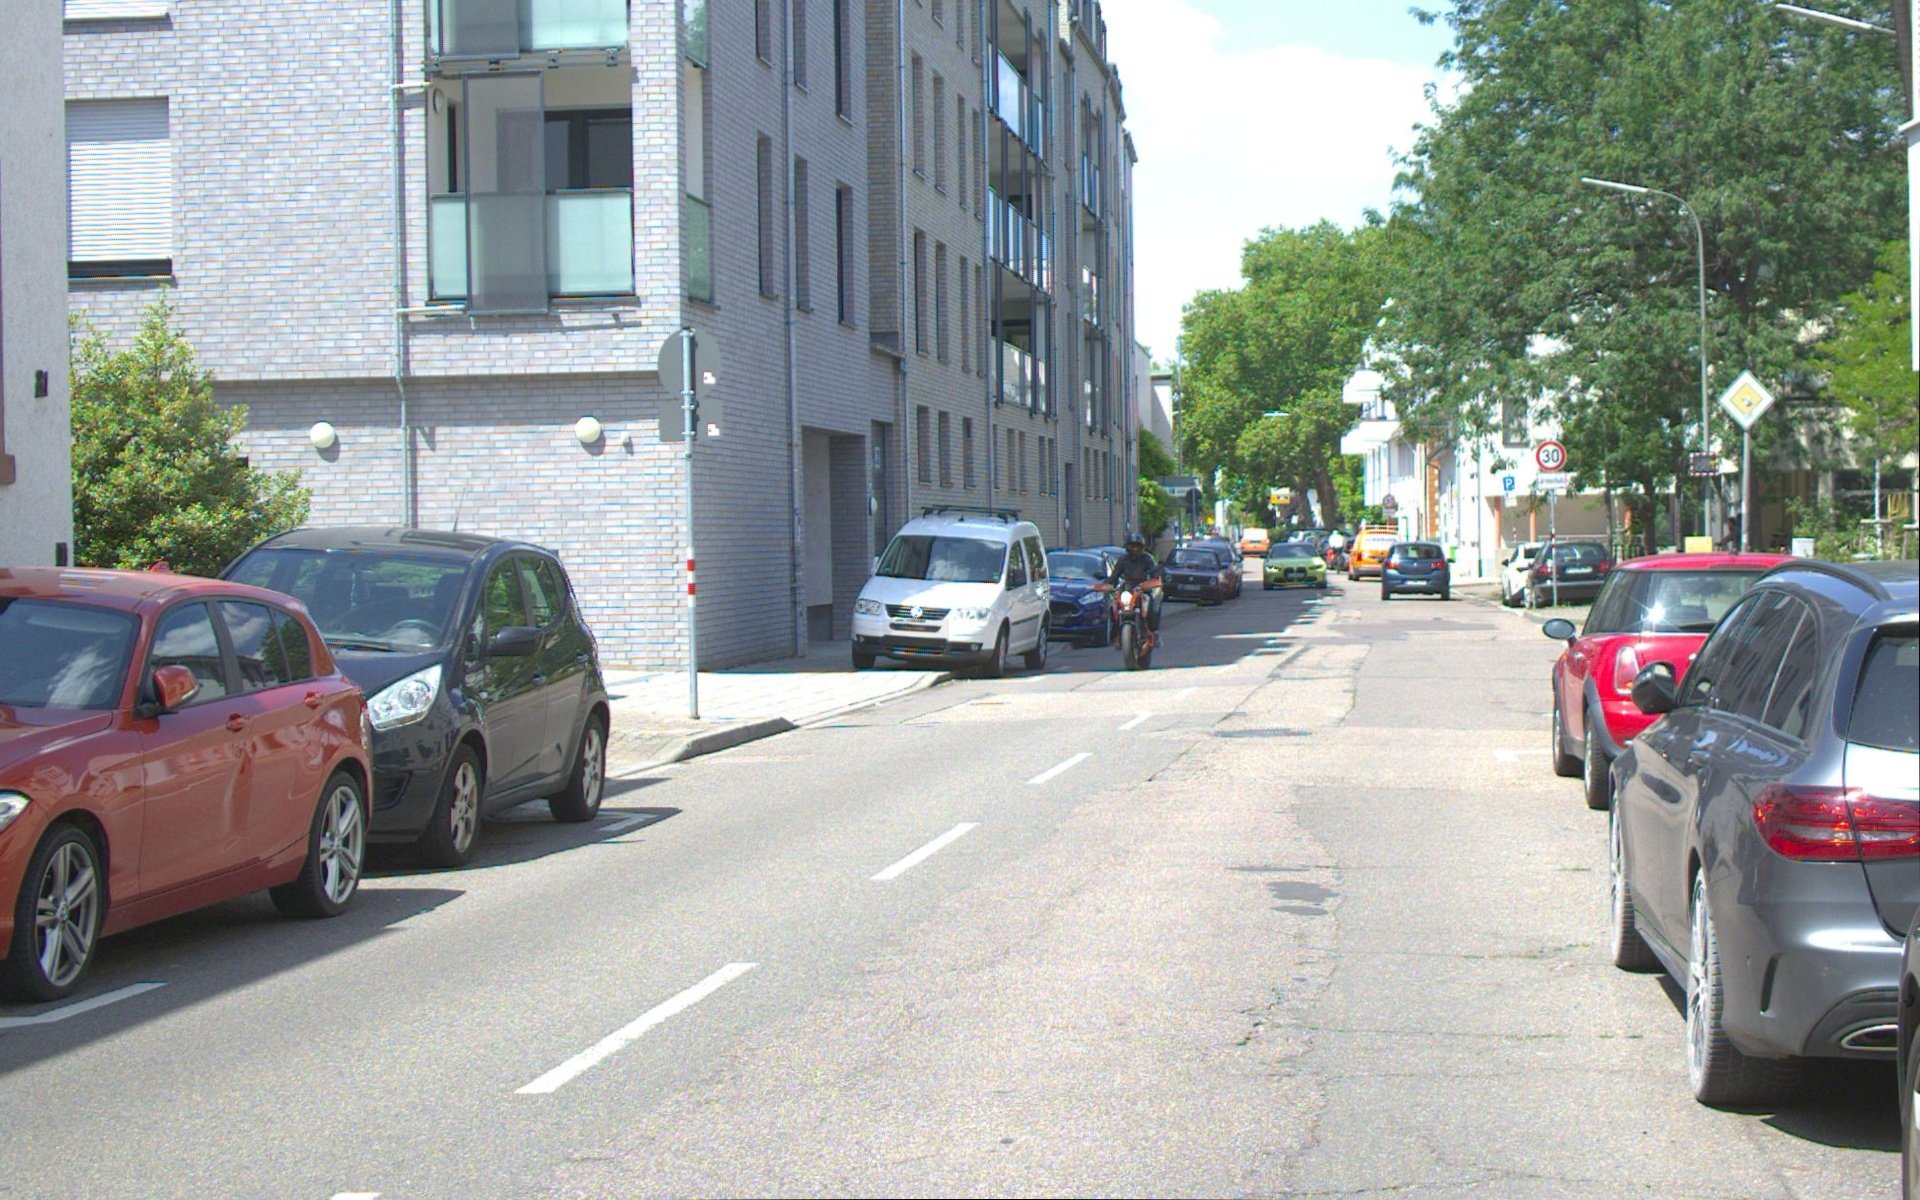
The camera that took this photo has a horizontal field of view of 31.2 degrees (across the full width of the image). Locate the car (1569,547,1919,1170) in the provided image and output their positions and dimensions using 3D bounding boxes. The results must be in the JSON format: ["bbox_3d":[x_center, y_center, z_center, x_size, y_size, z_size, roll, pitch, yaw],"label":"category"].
[{"bbox_3d":[2.828,0.573,10.270,1.729,1.415,4.544,-1,1,7],"label":"car"}]

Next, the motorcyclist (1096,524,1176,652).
[{"bbox_3d":[2.131,-0.157,41.522,0.822,1.504,1.056,-1,1,8],"label":"motorcyclist"}]

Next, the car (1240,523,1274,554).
[{"bbox_3d":[19.569,-4.067,226.343,2.157,2.007,3.999,-1,1,6],"label":"car"}]

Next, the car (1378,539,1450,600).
[{"bbox_3d":[11.371,-0.786,86.119,1.716,1.397,3.999,-1,2,8],"label":"car"}]

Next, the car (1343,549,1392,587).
[{"bbox_3d":[18.051,-1.427,152.404,1.994,1.612,4.000,-1,1,4],"label":"car"}]

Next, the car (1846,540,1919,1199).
[{"bbox_3d":[2.433,0.657,5.061,1.710,1.503,3.999,-1,1,8],"label":"car"}]

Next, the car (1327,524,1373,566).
[{"bbox_3d":[15.850,-2.255,139.835,1.711,1.628,3.703,-1,1,5],"label":"car"}]

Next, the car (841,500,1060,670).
[{"bbox_3d":[-0.053,-0.231,40.820,1.758,1.885,4.334,1,2,11],"label":"car"}]

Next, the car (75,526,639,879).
[{"bbox_3d":[-3.030,0.437,18.134,1.795,1.641,3.944,0,1,8],"label":"car"}]

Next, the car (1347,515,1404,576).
[{"bbox_3d":[14.328,-1.893,118.470,1.839,2.006,3.999,-1,2,8],"label":"car"}]

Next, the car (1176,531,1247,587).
[{"bbox_3d":[6.838,-1.130,93.275,1.733,1.437,3.999,-1,1,7],"label":"car"}]

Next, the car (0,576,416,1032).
[{"bbox_3d":[-3.684,0.661,13.248,1.834,1.412,4.288,-1,1,10],"label":"car"}]

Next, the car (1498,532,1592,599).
[{"bbox_3d":[12.948,-0.787,76.277,1.779,1.415,3.999,-1,1,6],"label":"car"}]

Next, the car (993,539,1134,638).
[{"bbox_3d":[1.640,-0.208,53.088,1.723,1.451,4.004,0,1,8],"label":"car"}]

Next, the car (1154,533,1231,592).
[{"bbox_3d":[5.989,-0.979,88.187,1.733,1.437,3.999,-1,1,7],"label":"car"}]

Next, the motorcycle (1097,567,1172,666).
[{"bbox_3d":[2.108,0.182,41.419,0.688,1.118,2.027,-1,1,8],"label":"motorcycle"}]

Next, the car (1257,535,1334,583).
[{"bbox_3d":[10.252,-1.275,104.827,1.994,1.376,4.391,1,2,10],"label":"car"}]

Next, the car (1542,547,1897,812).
[{"bbox_3d":[4.392,0.406,20.308,1.619,1.381,3.538,-1,1,6],"label":"car"}]

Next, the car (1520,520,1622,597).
[{"bbox_3d":[12.409,-0.854,70.048,1.692,1.415,3.999,-4,1,6],"label":"car"}]
